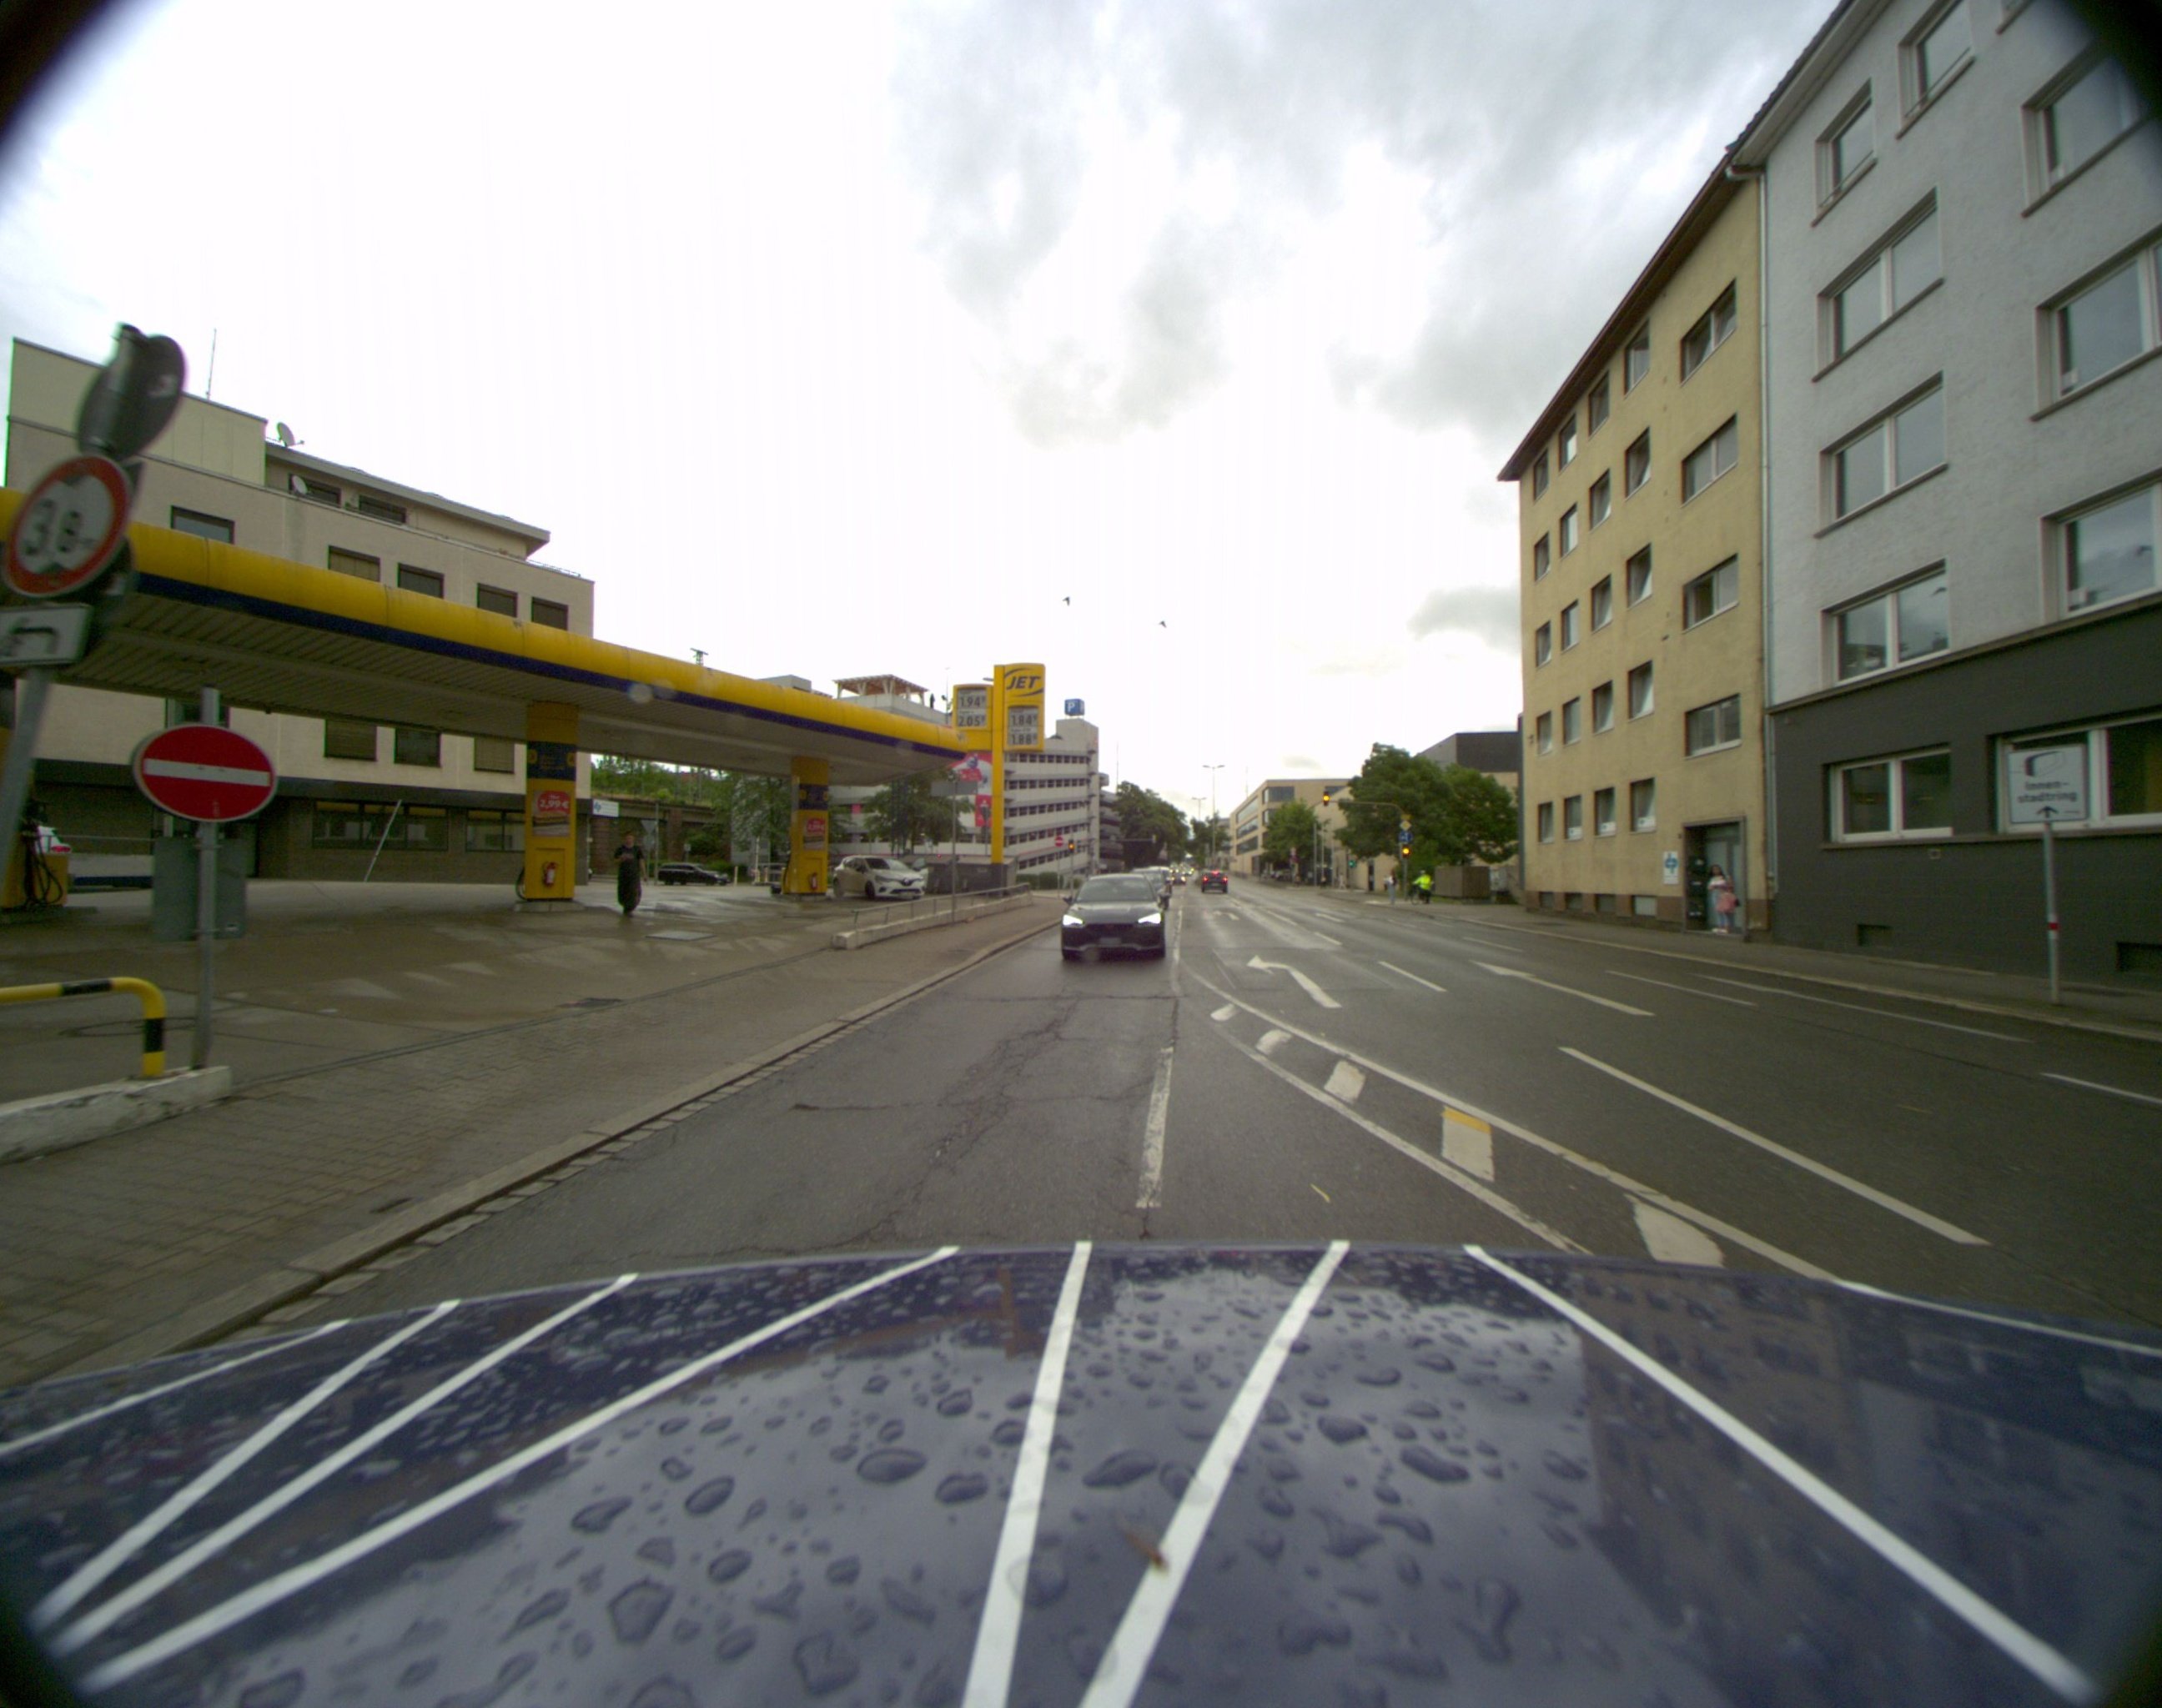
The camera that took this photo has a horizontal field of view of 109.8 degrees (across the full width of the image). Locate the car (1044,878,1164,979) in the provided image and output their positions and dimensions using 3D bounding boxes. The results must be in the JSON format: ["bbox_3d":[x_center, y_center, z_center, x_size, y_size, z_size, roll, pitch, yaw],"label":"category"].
[{"bbox_3d":[0.540,1.178,13.460,1.738,1.380,4.585,-2,-1,5],"label":"car"}]

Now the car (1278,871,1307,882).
[{"bbox_3d":[31.572,3.360,113.612,3.993,1.575,2.002,-2,-1,12],"label":"car"}]

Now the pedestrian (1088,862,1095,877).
[{"bbox_3d":[1.167,1.807,87.608,0.583,1.650,0.520,3,1,25],"label":"pedestrian"}]

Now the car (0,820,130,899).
[{"bbox_3d":[-26.341,0.163,18.043,1.995,1.853,4.590,-2,-1,37],"label":"car"}]

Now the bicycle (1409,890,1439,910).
[{"bbox_3d":[16.534,2.206,36.656,0.886,0.902,1.868,-2,-1,10],"label":"bicycle"}]

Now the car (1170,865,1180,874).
[{"bbox_3d":[20.447,3.408,165.930,1.998,1.772,4.002,-2,-1,5],"label":"car"}]

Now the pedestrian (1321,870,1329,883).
[{"bbox_3d":[25.126,2.296,78.189,0.622,1.368,0.475,-2,-1,8],"label":"pedestrian"}]

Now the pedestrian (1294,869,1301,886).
[{"bbox_3d":[23.127,2.504,81.141,0.595,1.760,0.692,-2,-1,7],"label":"pedestrian"}]

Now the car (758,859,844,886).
[{"bbox_3d":[-18.834,1.239,51.304,5.034,1.621,2.001,-2,-1,2],"label":"car"}]

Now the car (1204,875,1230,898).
[{"bbox_3d":[10.026,2.351,56.200,1.811,1.585,4.299,0,-1,9],"label":"car"}]

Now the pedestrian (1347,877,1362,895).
[{"bbox_3d":[26.709,3.141,74.228,1.112,1.690,0.808,-2,-1,5],"label":"pedestrian"}]

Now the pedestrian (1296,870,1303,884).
[{"bbox_3d":[23.739,2.512,82.401,0.595,1.507,0.692,-2,-1,7],"label":"pedestrian"}]

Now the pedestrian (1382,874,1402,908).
[{"bbox_3d":[15.634,1.873,38.246,0.718,1.679,0.812,-2,-1,10],"label":"pedestrian"}]

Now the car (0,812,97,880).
[{"bbox_3d":[-30.161,-0.261,20.416,1.995,1.715,4.411,-2,-5,36],"label":"car"}]

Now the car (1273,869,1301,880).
[{"bbox_3d":[31.412,3.192,116.014,3.993,1.575,2.002,-2,-1,12],"label":"car"}]

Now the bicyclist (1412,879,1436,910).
[{"bbox_3d":[16.516,1.934,36.636,0.843,1.433,0.813,-2,-1,10],"label":"bicyclist"}]

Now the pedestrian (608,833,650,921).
[{"bbox_3d":[-9.315,0.469,15.654,0.661,1.761,0.528,2,1,-34],"label":"pedestrian"}]

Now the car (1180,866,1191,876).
[{"bbox_3d":[20.237,3.272,147.124,1.998,1.772,4.002,-2,-1,5],"label":"car"}]

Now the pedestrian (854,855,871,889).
[{"bbox_3d":[-9.776,0.787,33.964,0.576,1.506,0.478,-1,-1,-33],"label":"pedestrian"}]

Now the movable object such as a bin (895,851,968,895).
[{"bbox_3d":[-5.612,0.687,28.682,2.159,1.546,1.774,1,0,9],"label":"movable object such as a bin"}]

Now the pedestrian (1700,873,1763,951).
[{"bbox_3d":[14.424,1.269,16.867,0.718,1.679,0.812,-2,-1,10],"label":"pedestrian"}]

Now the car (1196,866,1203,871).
[{"bbox_3d":[32.826,4.027,211.157,1.674,1.461,4.303,2,-1,6],"label":"car"}]

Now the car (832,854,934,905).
[{"bbox_3d":[-6.527,0.790,24.798,1.750,1.433,3.988,2,0,-38],"label":"car"}]

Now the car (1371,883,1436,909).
[{"bbox_3d":[28.427,3.709,67.021,4.786,1.914,2.001,4,0,5],"label":"car"}]

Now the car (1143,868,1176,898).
[{"bbox_3d":[5.171,1.866,49.584,1.803,1.817,3.953,-2,-1,9],"label":"car"}]

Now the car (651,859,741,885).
[{"bbox_3d":[-26.098,1.203,51.585,5.034,1.621,2.001,-2,-1,2],"label":"car"}]

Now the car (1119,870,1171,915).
[{"bbox_3d":[2.649,1.492,30.522,1.845,1.646,4.003,-1,-1,8],"label":"car"}]

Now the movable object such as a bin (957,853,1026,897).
[{"bbox_3d":[-3.312,0.768,28.403,2.159,1.565,1.774,1,0,9],"label":"movable object such as a bin"}]
